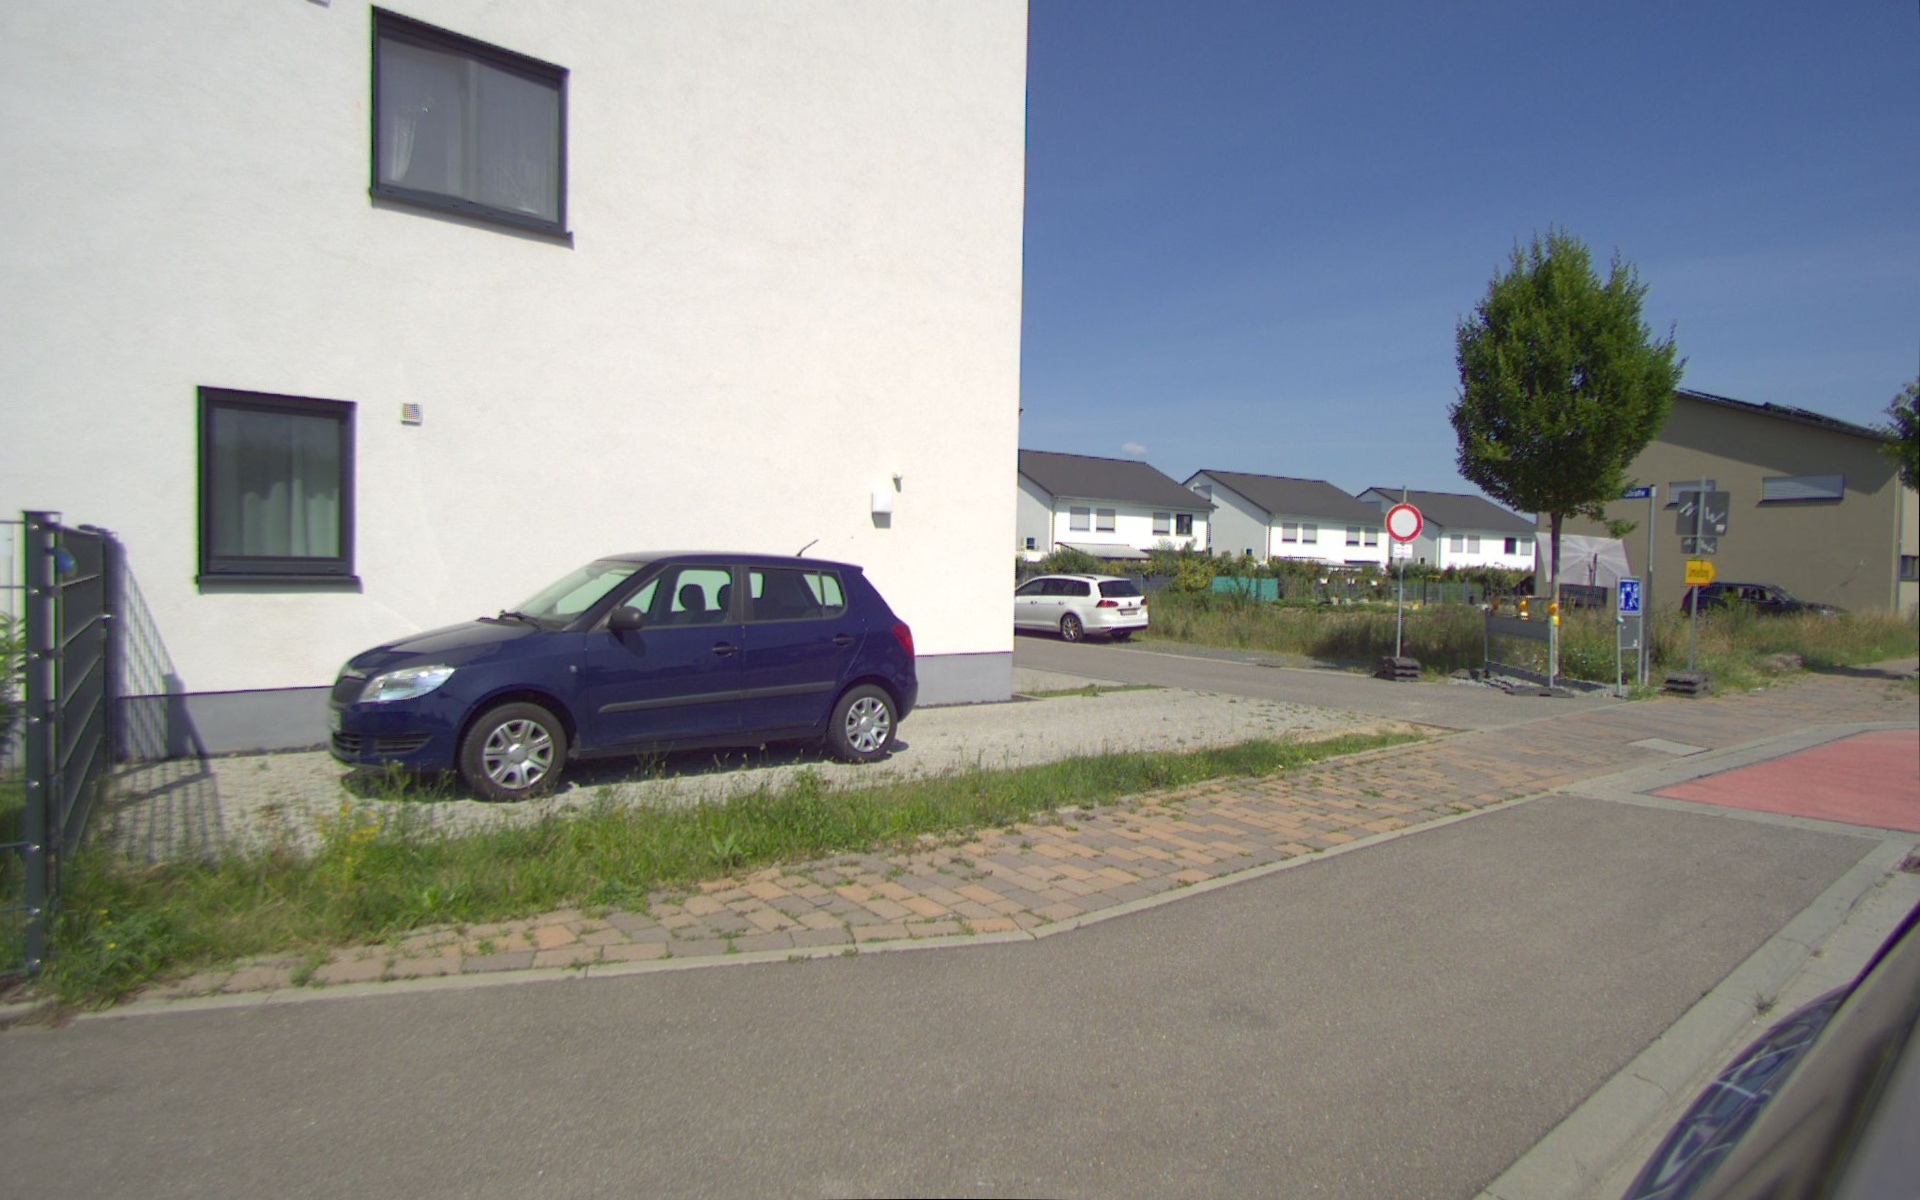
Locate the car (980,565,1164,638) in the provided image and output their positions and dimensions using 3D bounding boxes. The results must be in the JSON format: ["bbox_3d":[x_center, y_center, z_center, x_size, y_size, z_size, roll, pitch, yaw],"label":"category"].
[{"bbox_3d":[2.475,-0.042,23.328,1.848,1.453,4.170,-1,3,-38],"label":"car"}]

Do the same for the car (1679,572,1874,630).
[{"bbox_3d":[27.547,-0.041,34.325,1.962,1.664,4.764,-1,4,-35],"label":"car"}]

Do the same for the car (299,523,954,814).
[{"bbox_3d":[-2.139,0.341,7.116,4.042,1.488,1.681,0,1,-39],"label":"car"}]
